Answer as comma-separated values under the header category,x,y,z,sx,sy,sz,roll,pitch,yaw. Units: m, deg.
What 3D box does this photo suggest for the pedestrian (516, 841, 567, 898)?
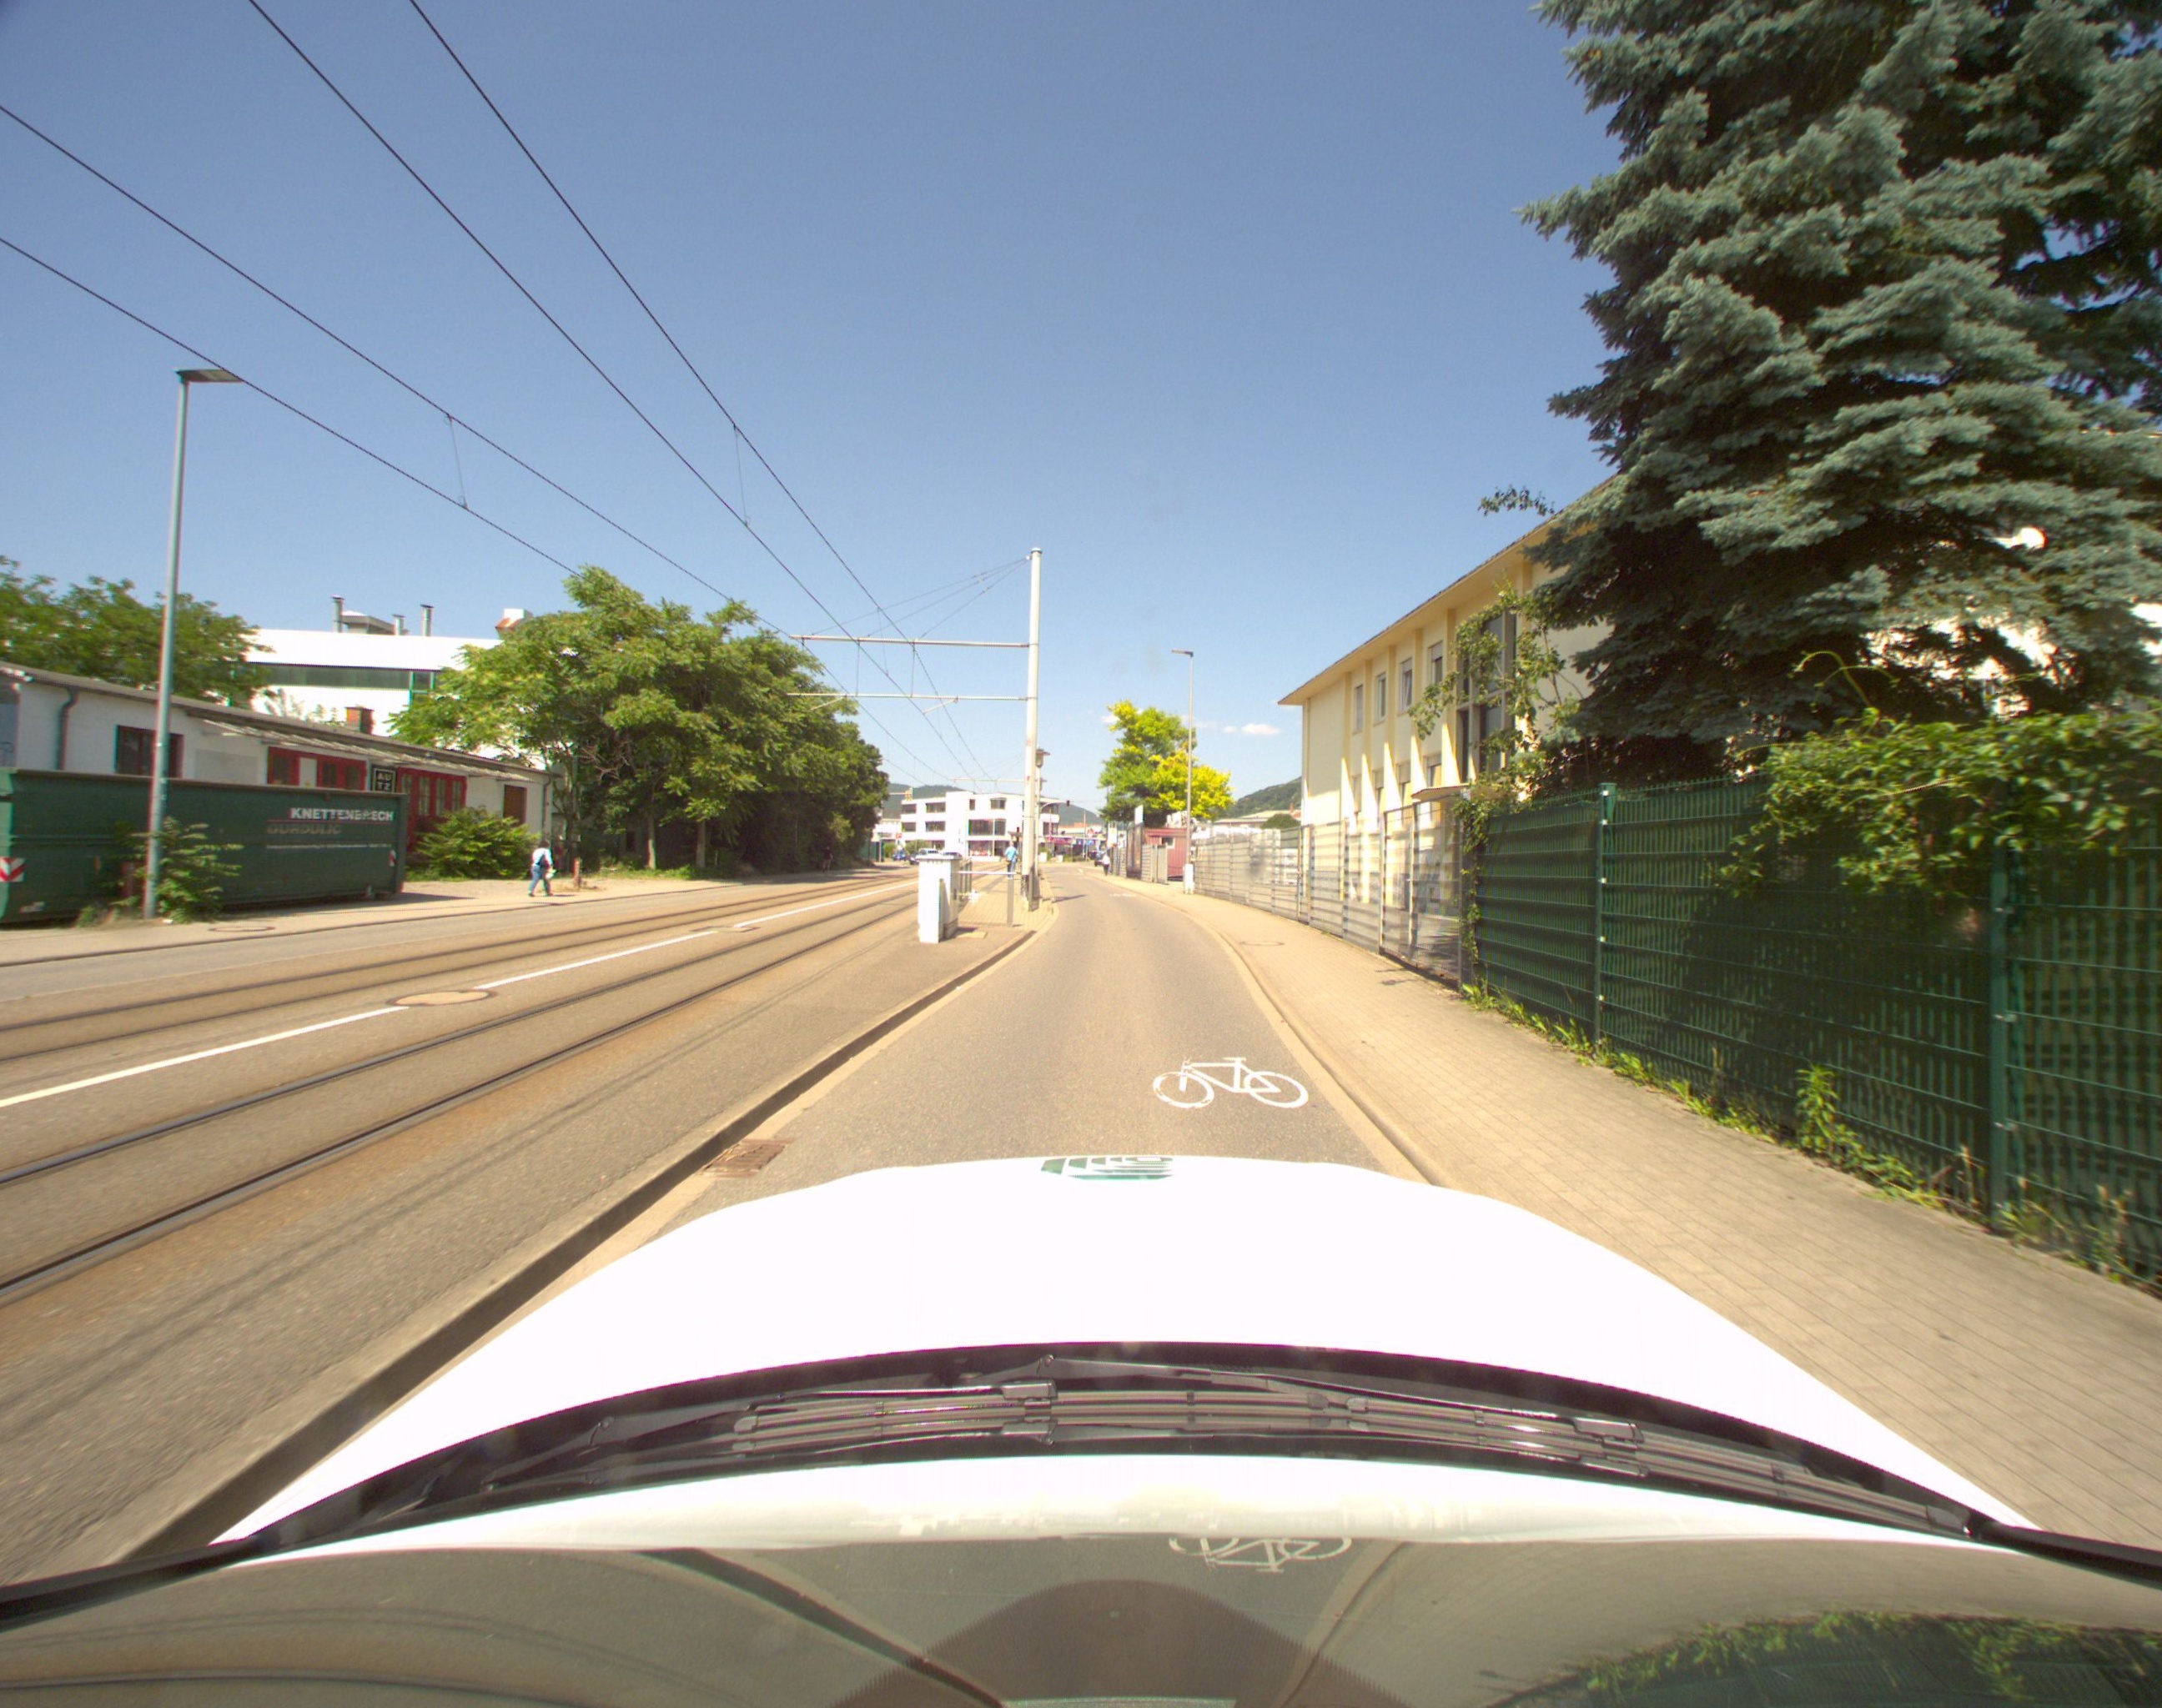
category,x,y,z,sx,sy,sz,roll,pitch,yaw
pedestrian,-14.854,0.420,22.430,0.833,1.537,0.837,0,0,-4

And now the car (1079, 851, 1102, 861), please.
category,x,y,z,sx,sy,sz,roll,pitch,yaw
car,1.695,0.314,142.358,1.842,1.662,4.024,1,0,42

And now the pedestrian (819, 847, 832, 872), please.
category,x,y,z,sx,sy,sz,roll,pitch,yaw
pedestrian,-16.179,0.340,51.599,0.582,1.537,0.656,0,0,-4

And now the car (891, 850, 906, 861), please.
category,x,y,z,sx,sy,sz,roll,pitch,yaw
car,-25.015,0.148,111.445,1.761,1.489,3.739,0,0,-18

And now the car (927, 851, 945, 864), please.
category,x,y,z,sx,sy,sz,roll,pitch,yaw
car,-17.904,0.421,100.306,1.761,1.647,3.739,0,0,-18

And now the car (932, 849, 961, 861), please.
category,x,y,z,sx,sy,sz,roll,pitch,yaw
car,-19.189,0.152,116.123,3.900,1.680,1.722,1,0,-15

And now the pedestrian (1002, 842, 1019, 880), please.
category,x,y,z,sx,sy,sz,roll,pitch,yaw
pedestrian,-3.255,0.305,37.738,0.742,1.740,0.726,0,0,-4

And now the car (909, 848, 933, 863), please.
category,x,y,z,sx,sy,sz,roll,pitch,yaw
car,-16.872,0.175,86.201,1.781,1.552,3.999,0,0,-1

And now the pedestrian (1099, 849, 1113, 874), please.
category,x,y,z,sx,sy,sz,roll,pitch,yaw
pedestrian,1.837,0.569,60.031,0.938,1.787,0.952,2,1,-4

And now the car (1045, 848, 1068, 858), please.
category,x,y,z,sx,sy,sz,roll,pitch,yaw
car,-4.275,-0.206,144.101,1.714,1.662,4.024,1,0,44
